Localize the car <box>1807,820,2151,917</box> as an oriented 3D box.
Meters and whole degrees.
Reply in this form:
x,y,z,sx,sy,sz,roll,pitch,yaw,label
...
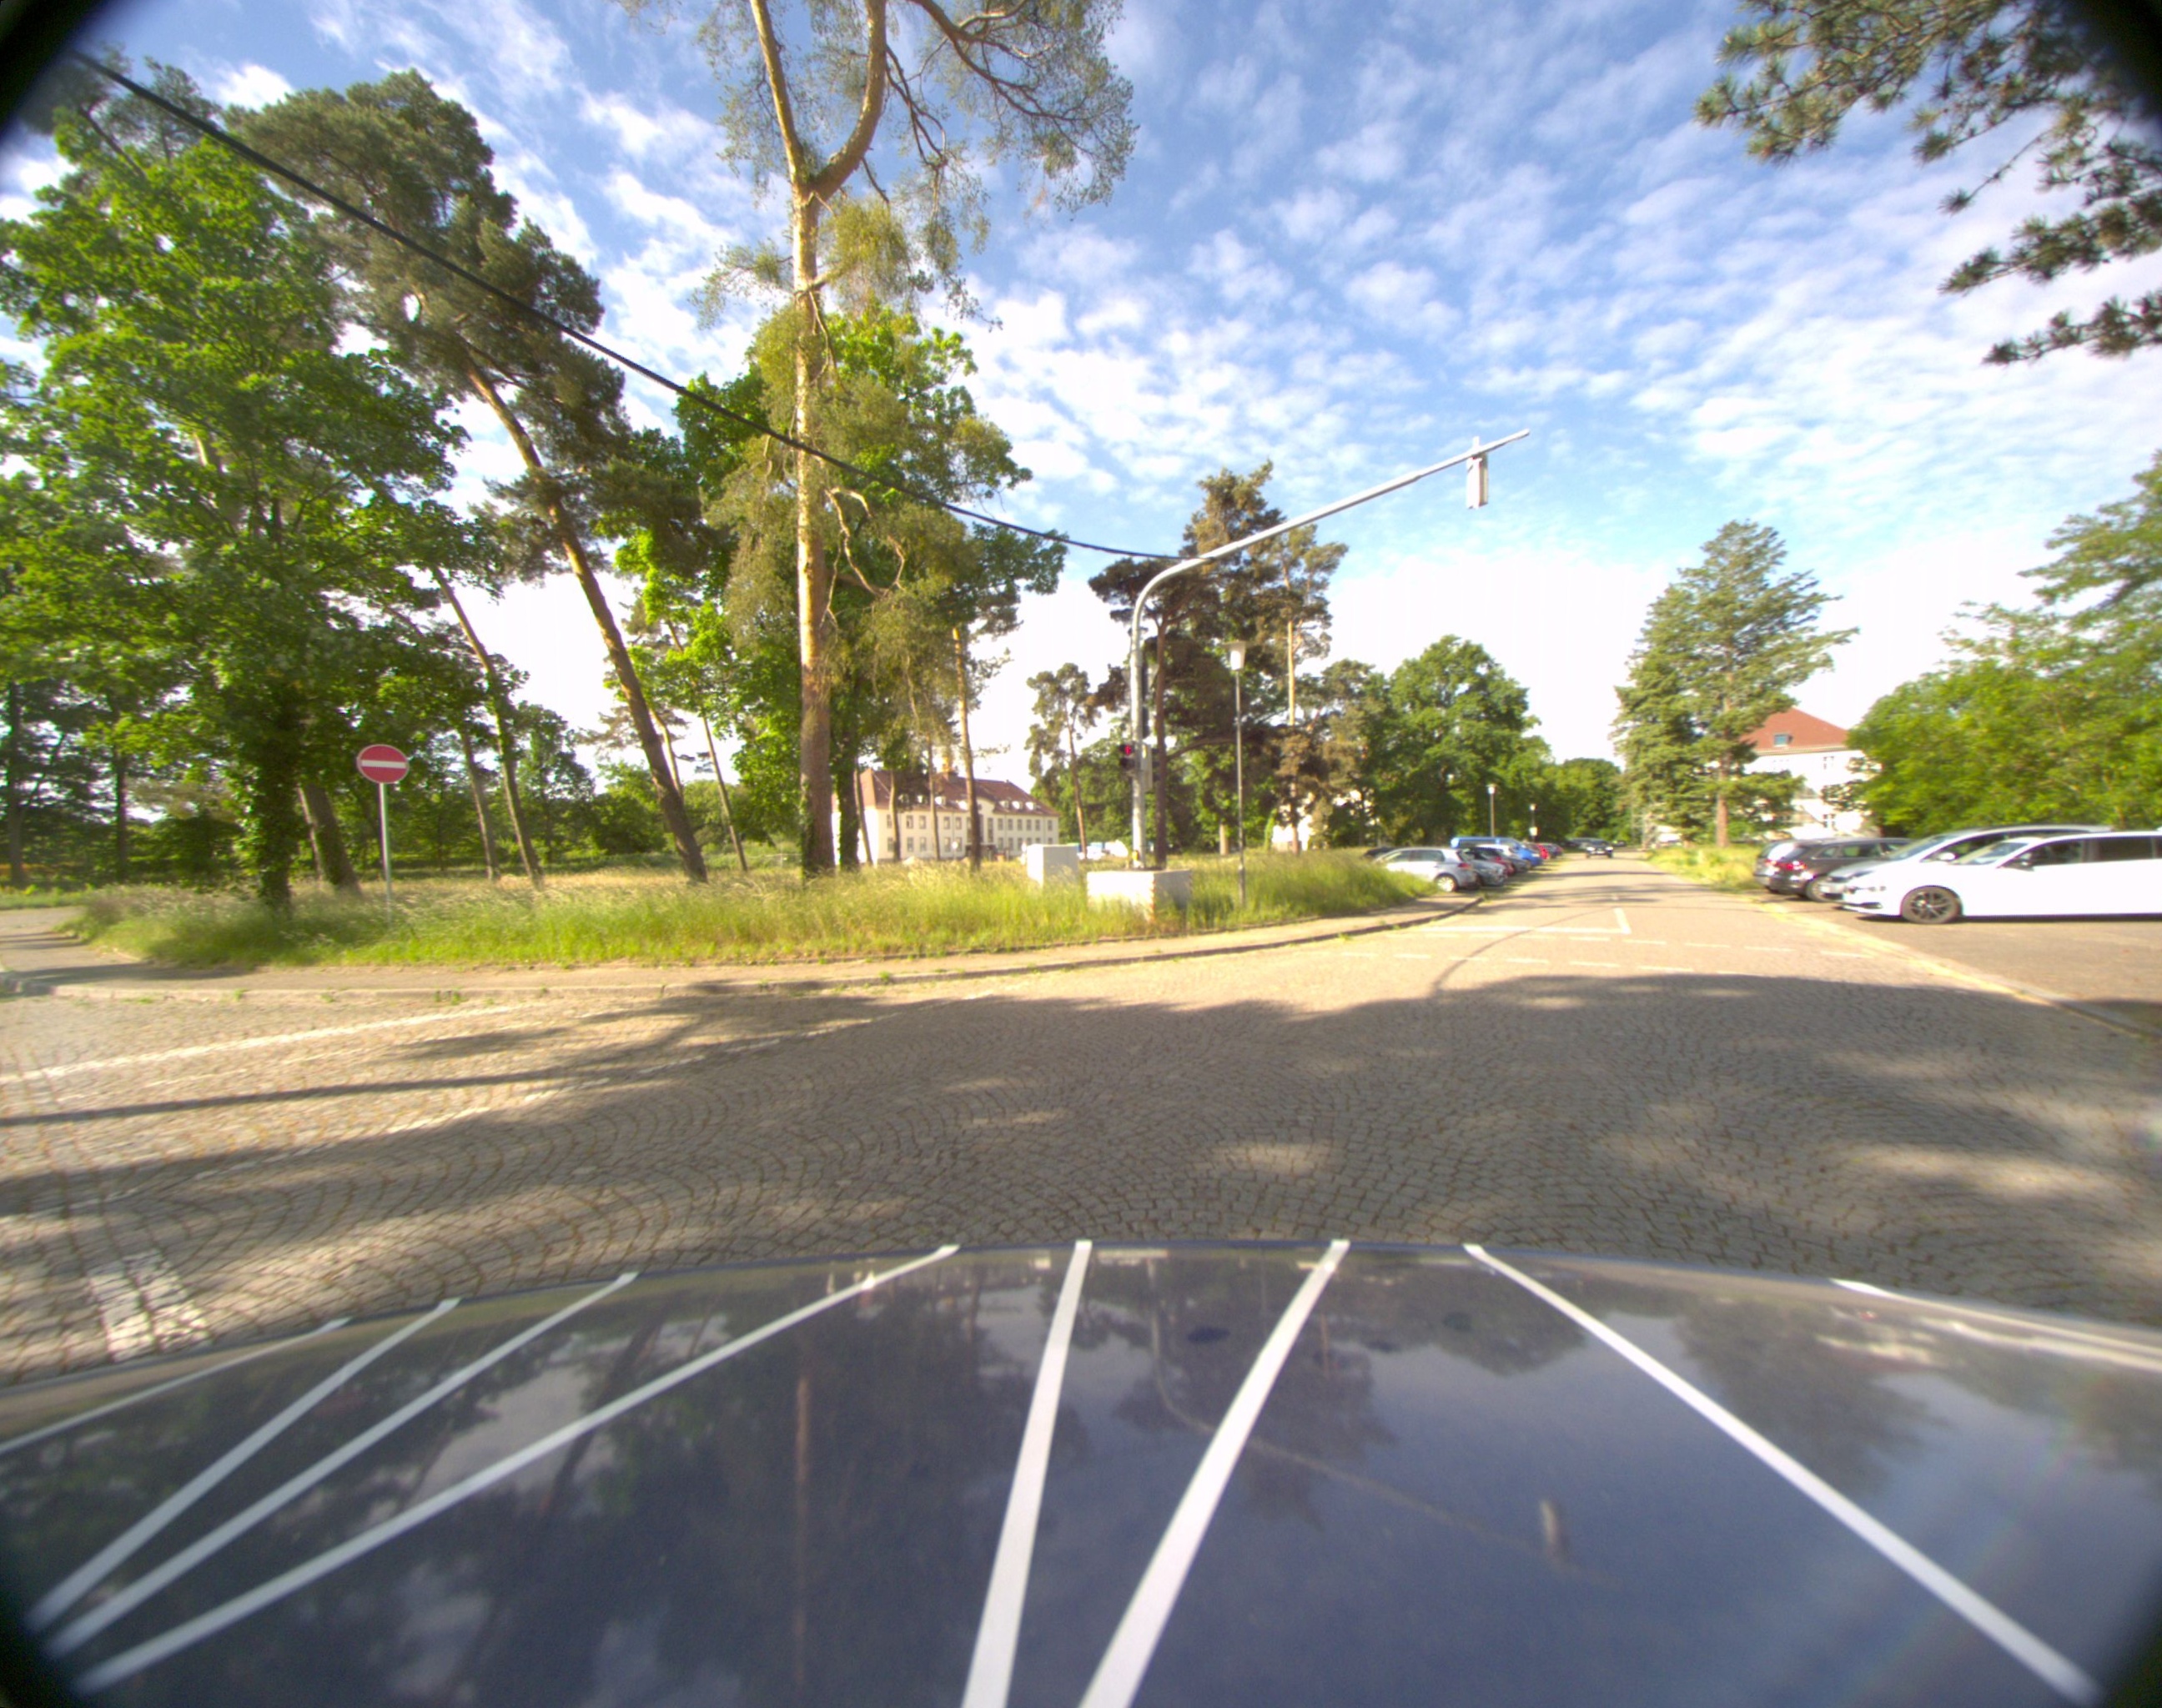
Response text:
x,y,z,sx,sy,sz,roll,pitch,yaw,label
17.196,0.318,14.887,3.947,1.616,1.725,-4,-1,30,car

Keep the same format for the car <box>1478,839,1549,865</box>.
x,y,z,sx,sy,sz,roll,pitch,yaw,label
29.447,-0.124,51.768,3.988,1.630,1.760,-1,1,38,car

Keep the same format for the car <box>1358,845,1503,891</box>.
x,y,z,sx,sy,sz,roll,pitch,yaw,label
12.346,0.442,26.931,4.496,1.508,1.829,0,2,32,car

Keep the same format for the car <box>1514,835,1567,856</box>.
x,y,z,sx,sy,sz,roll,pitch,yaw,label
43.823,-0.803,72.484,3.990,1.605,1.760,-4,0,39,car

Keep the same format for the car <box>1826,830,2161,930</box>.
x,y,z,sx,sy,sz,roll,pitch,yaw,label
15.865,0.445,12.706,4.544,1.458,1.756,-4,-1,32,car

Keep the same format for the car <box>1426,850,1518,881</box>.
x,y,z,sx,sy,sz,roll,pitch,yaw,label
16.835,0.503,32.757,3.350,1.248,1.422,-1,1,34,car

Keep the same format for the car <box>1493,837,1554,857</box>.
x,y,z,sx,sy,sz,roll,pitch,yaw,label
35.167,-0.539,60.424,3.988,1.509,1.760,-1,1,38,car

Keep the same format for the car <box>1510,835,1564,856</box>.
x,y,z,sx,sy,sz,roll,pitch,yaw,label
41.096,-0.756,68.501,3.989,1.730,1.760,-3,0,38,car

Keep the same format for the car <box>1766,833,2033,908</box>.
x,y,z,sx,sy,sz,roll,pitch,yaw,label
18.384,0.390,17.358,3.800,1.462,1.691,-4,-1,34,car

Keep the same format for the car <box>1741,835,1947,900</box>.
x,y,z,sx,sy,sz,roll,pitch,yaw,label
19.710,0.363,19.848,3.468,1.462,1.639,-4,-1,32,car

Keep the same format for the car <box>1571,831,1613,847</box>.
x,y,z,sx,sy,sz,roll,pitch,yaw,label
74.460,-2.210,110.734,5.058,2.251,2.004,-1,1,35,car

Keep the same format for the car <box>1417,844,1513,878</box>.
x,y,z,sx,sy,sz,roll,pitch,yaw,label
17.786,0.347,35.256,3.771,1.482,1.552,-1,1,34,car

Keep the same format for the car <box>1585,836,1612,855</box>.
x,y,z,sx,sy,sz,roll,pitch,yaw,label
45.695,-0.787,67.086,1.864,1.576,4.007,-1,1,33,car

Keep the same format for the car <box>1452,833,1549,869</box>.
x,y,z,sx,sy,sz,roll,pitch,yaw,label
24.448,-0.167,44.334,4.717,2.002,2.004,-1,1,36,car

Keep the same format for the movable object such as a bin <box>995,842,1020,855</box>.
x,y,z,sx,sy,sz,roll,pitch,yaw,label
-13.585,-1.024,140.255,1.994,2.309,4.996,-1,1,31,movable object such as a bin

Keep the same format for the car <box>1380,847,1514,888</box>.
x,y,z,sx,sy,sz,roll,pitch,yaw,label
14.011,0.459,29.172,4.413,1.394,1.829,1,2,34,car

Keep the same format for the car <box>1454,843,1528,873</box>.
x,y,z,sx,sy,sz,roll,pitch,yaw,label
21.476,0.211,39.834,3.258,1.482,1.452,-1,1,37,car

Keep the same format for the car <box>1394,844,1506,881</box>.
x,y,z,sx,sy,sz,roll,pitch,yaw,label
15.080,0.310,31.149,3.909,1.385,1.664,1,2,34,car

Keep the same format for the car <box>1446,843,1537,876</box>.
x,y,z,sx,sy,sz,roll,pitch,yaw,label
20.113,0.269,37.302,3.616,1.482,1.510,-1,1,45,car

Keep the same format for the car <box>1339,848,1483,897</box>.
x,y,z,sx,sy,sz,roll,pitch,yaw,label
10.765,0.559,24.843,4.017,1.452,1.874,0,2,34,car
